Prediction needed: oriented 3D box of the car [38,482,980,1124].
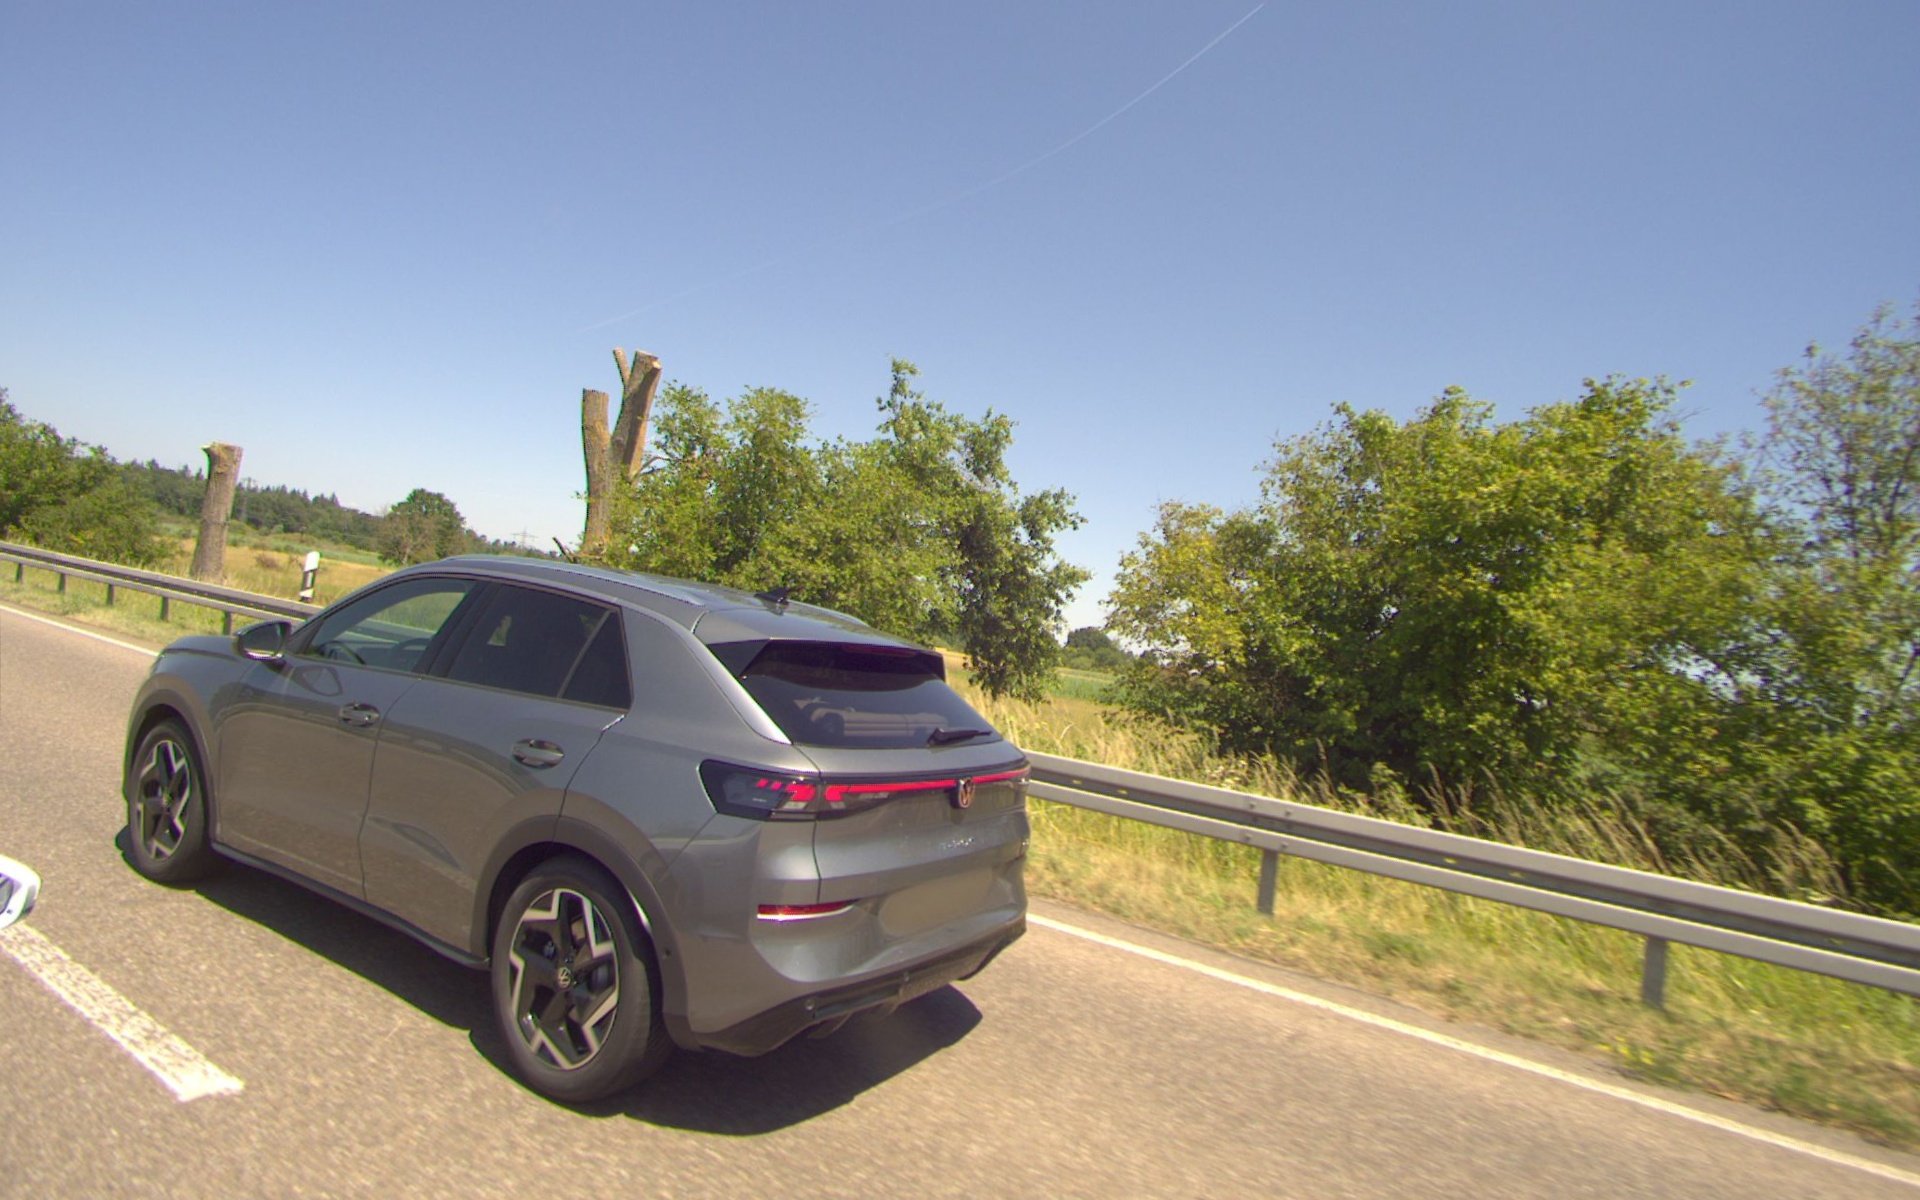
[{"bbox_3d":[-2.142,0.516,4.527,3.951,1.571,1.788,7,-1,31],"label":"car"}]
